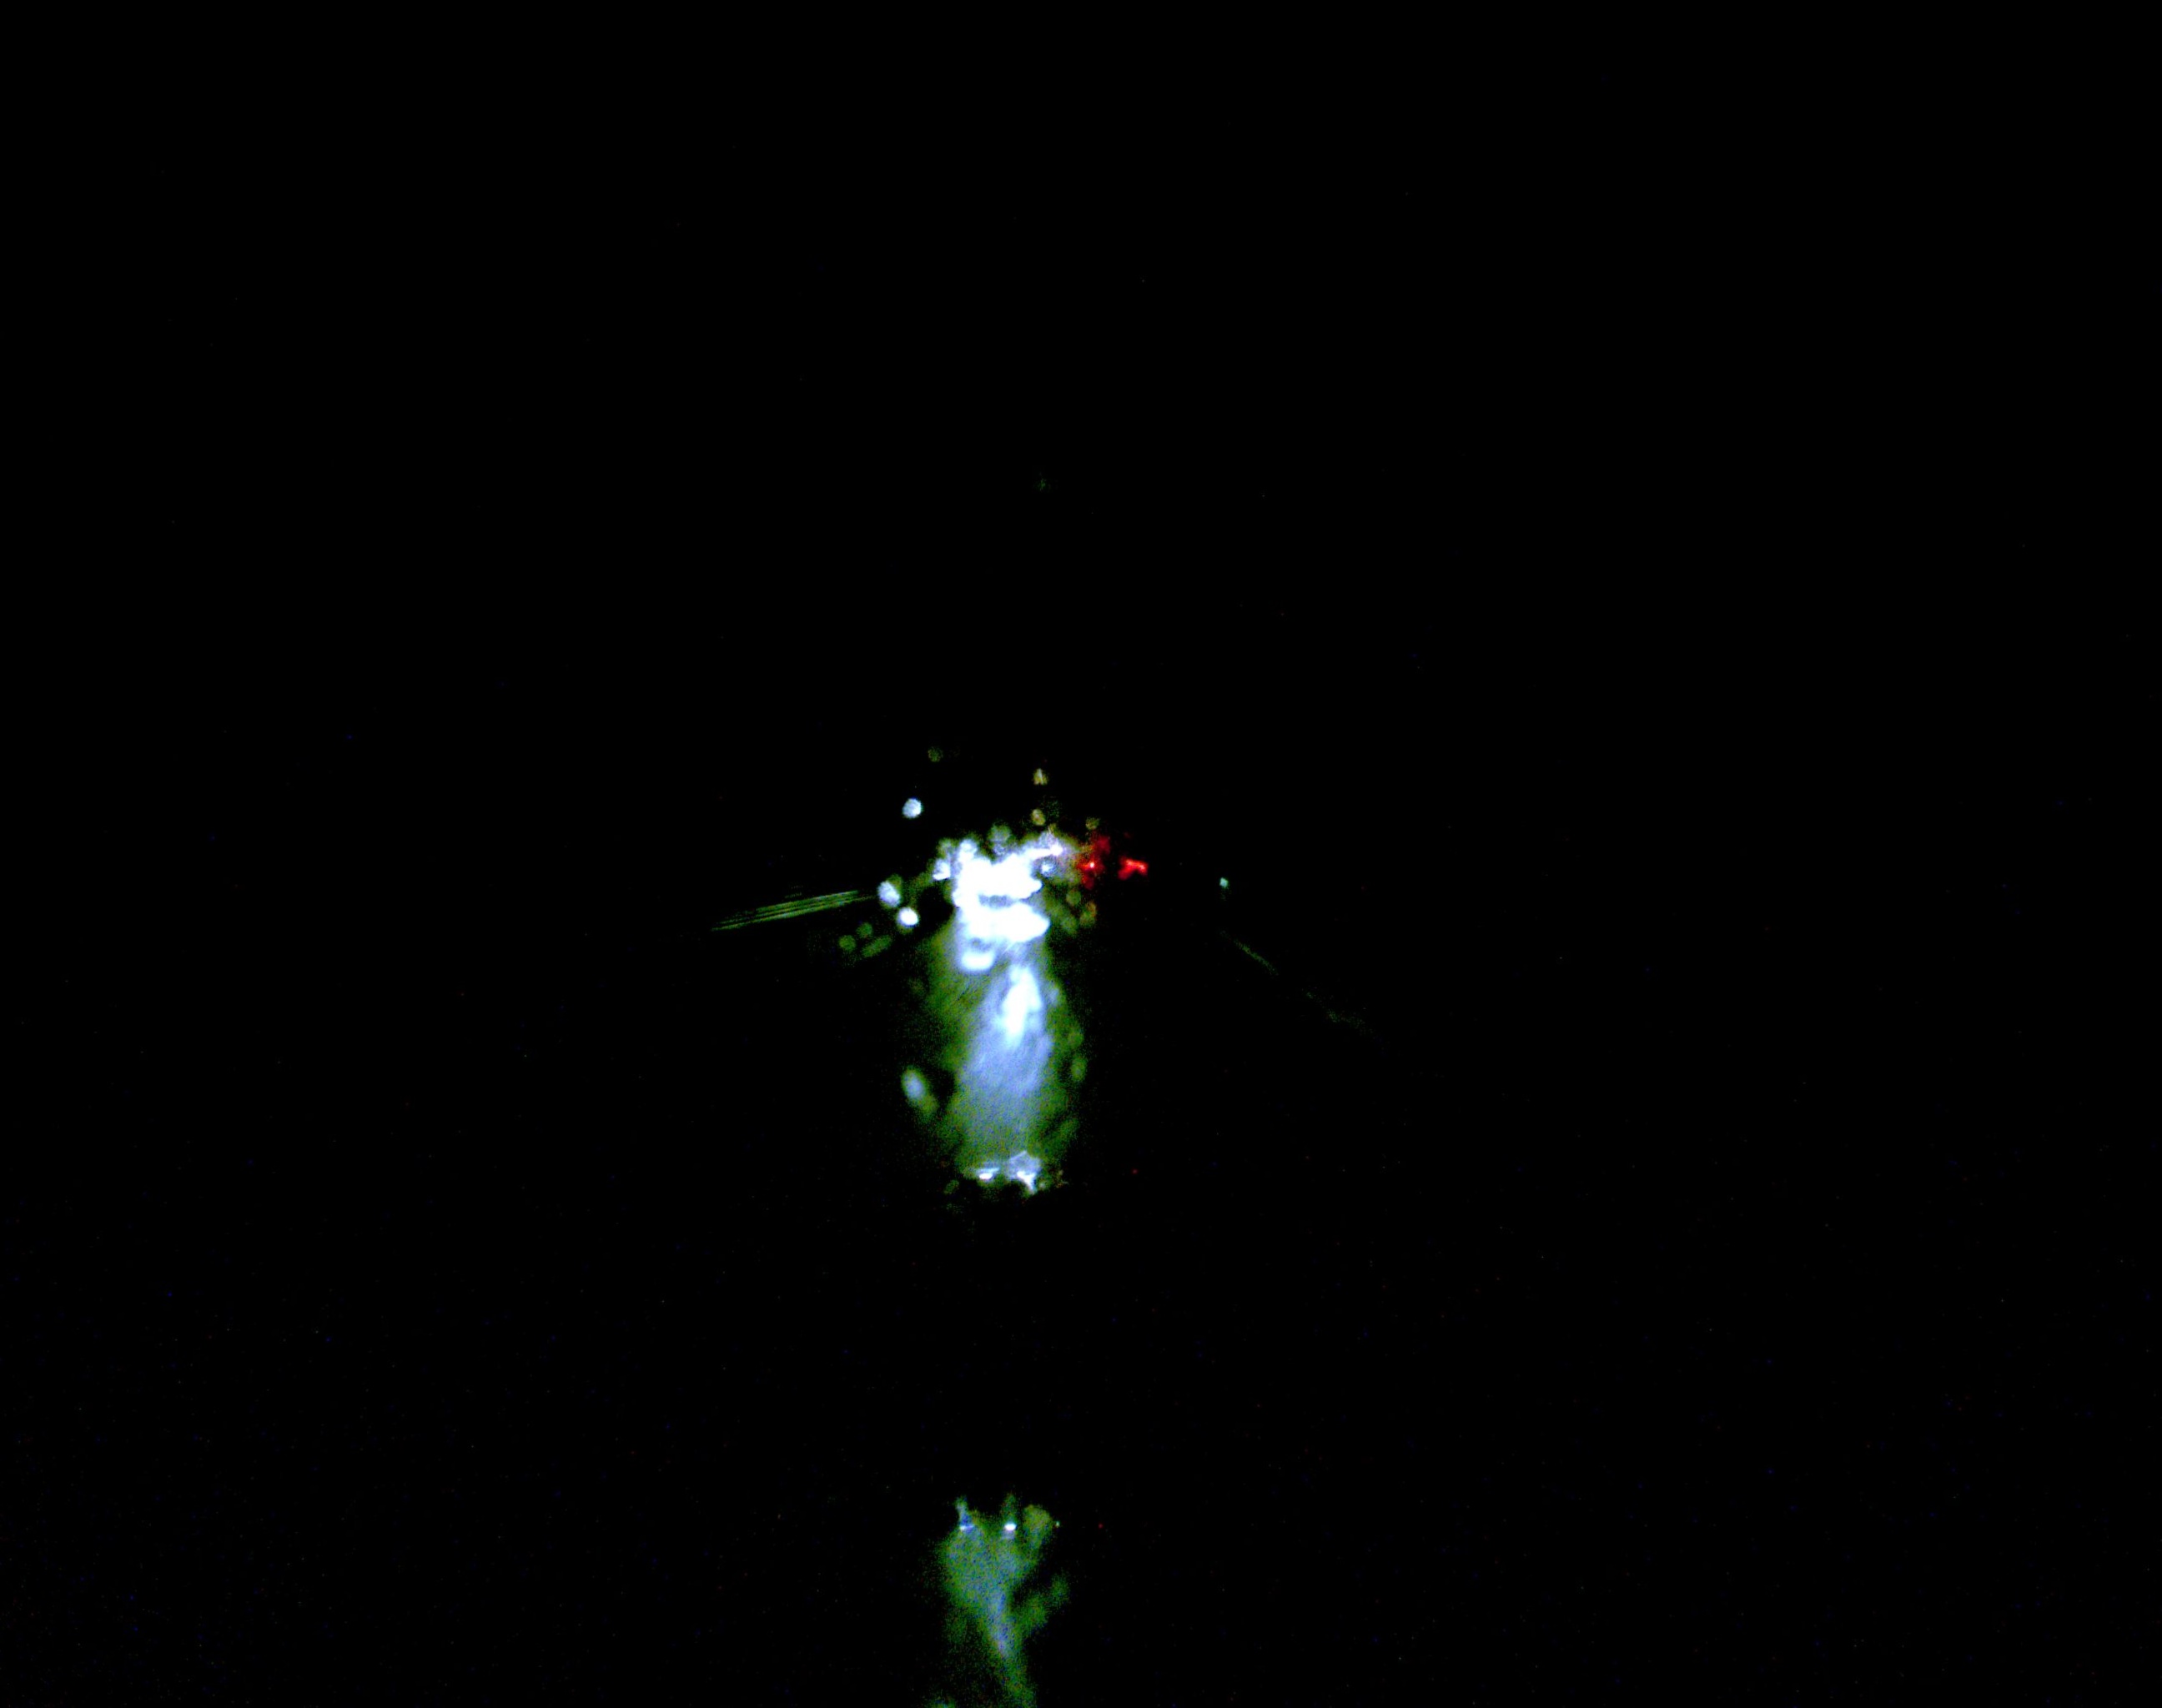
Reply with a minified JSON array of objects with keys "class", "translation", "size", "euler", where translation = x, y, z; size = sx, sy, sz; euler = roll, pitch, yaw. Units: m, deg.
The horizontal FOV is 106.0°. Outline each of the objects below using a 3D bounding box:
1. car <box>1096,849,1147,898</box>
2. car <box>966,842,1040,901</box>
[{"class":"car","translation":[1.703,0.779,34.473],"size":[1.986,1.806,3.920],"euler":[-1,2,2]},{"class":"car","translation":[-2.514,0.535,27.073],"size":[1.987,1.781,4.000],"euler":[-2,0,0]}]
